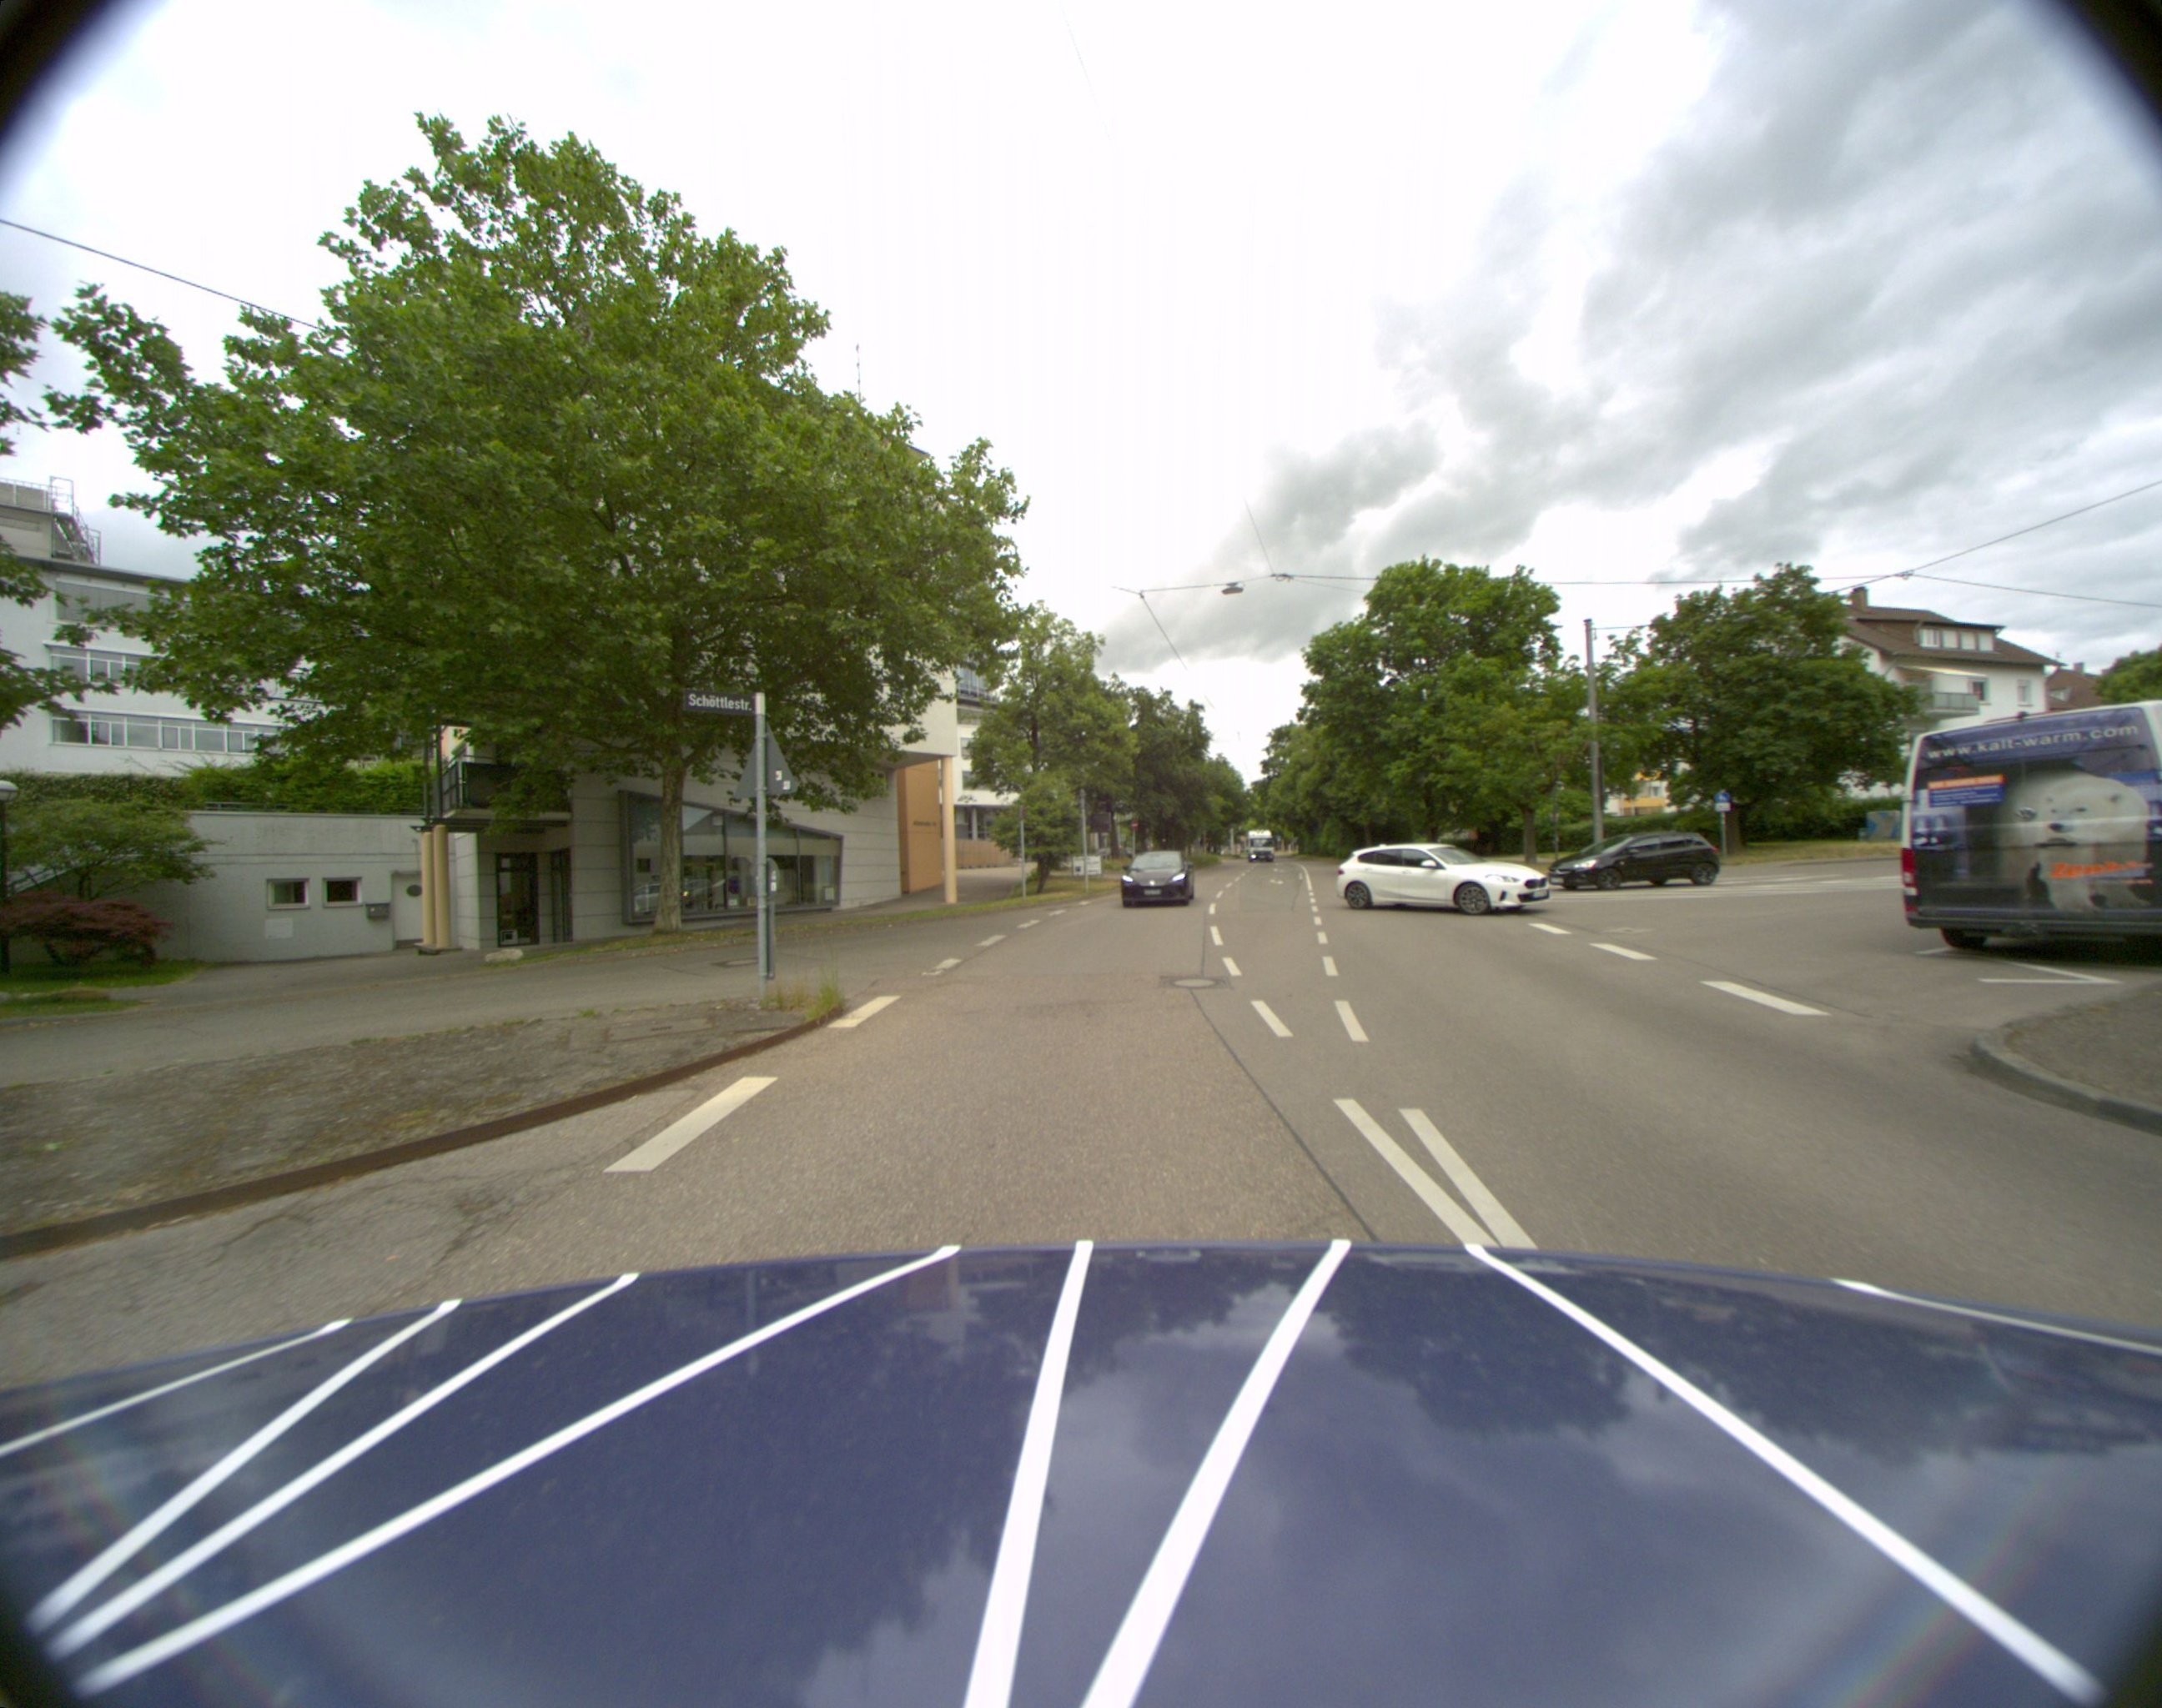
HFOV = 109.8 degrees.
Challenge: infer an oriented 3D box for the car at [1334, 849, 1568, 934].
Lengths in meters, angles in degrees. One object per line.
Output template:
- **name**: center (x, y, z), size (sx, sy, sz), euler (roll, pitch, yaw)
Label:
- **car**: center (7.790, 0.759, 16.432), size (1.804, 1.508, 4.198), euler (-3, 0, -30)

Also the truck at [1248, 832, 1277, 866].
- **truck**: center (18.097, -0.494, 76.112), size (2.434, 3.176, 6.472), euler (-2, -1, 11)

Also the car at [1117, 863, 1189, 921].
- **car**: center (2.165, 1.025, 21.850), size (1.799, 1.475, 4.022), euler (-1, 0, 9)

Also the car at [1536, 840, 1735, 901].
- **car**: center (14.685, 0.452, 20.271), size (3.997, 1.328, 1.645), euler (-4, -1, 1)

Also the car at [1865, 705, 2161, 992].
- **car**: center (12.378, -0.157, 8.723), size (6.987, 2.506, 2.082), euler (-3, -3, -22)
